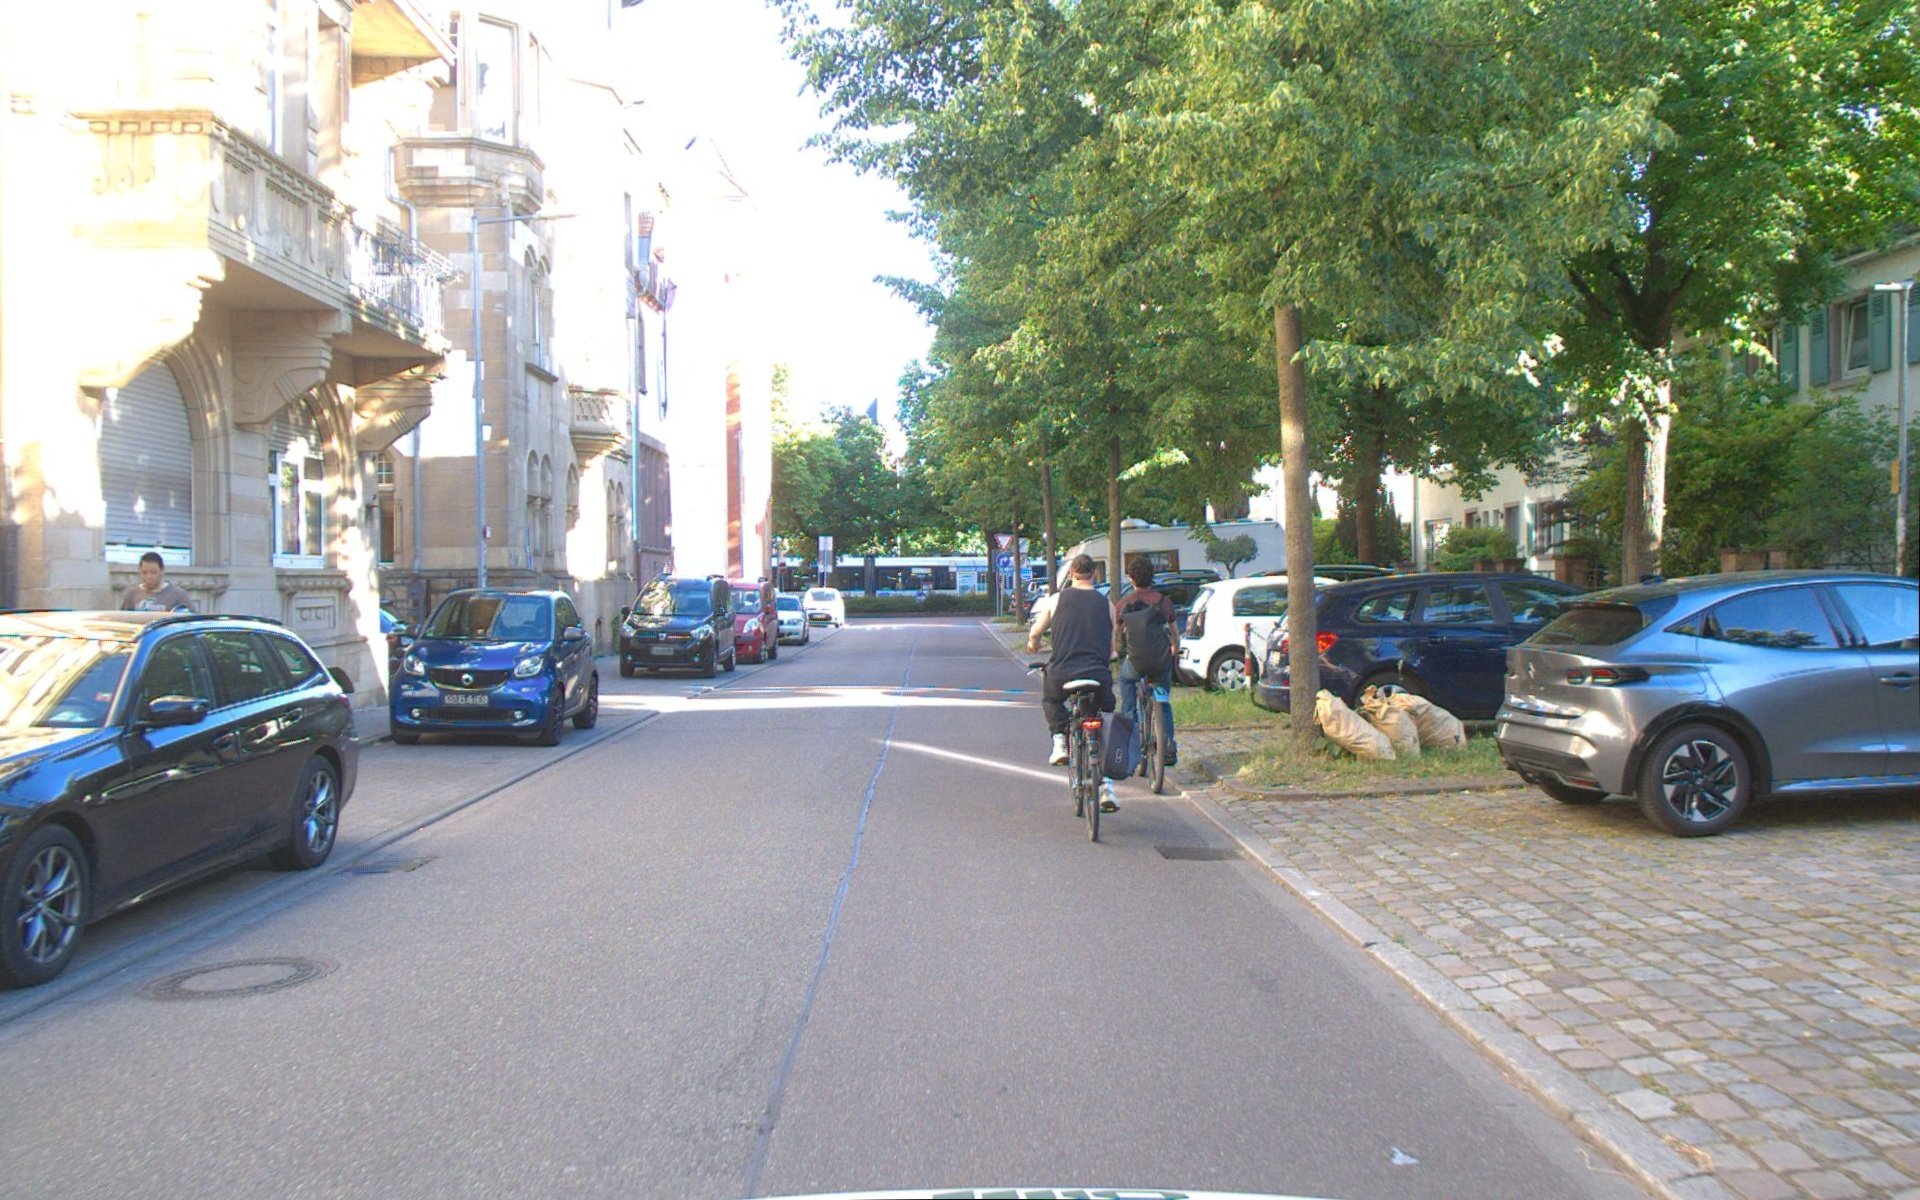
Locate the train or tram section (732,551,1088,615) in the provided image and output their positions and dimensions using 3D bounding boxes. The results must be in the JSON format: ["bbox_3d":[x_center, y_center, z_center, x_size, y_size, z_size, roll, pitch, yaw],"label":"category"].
[{"bbox_3d":[-2.981,-1.002,108.450,23.485,3.773,4.255,1,0,-24],"label":"train or tram section"}]

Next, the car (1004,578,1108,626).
[{"bbox_3d":[3.766,0.081,65.070,3.907,1.835,1.833,0,0,-3],"label":"car"}]

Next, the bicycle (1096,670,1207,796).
[{"bbox_3d":[1.485,1.022,13.098,0.620,0.813,1.832,-1,1,-1],"label":"bicycle"}]

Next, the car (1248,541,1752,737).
[{"bbox_3d":[4.930,0.365,15.506,4.136,1.628,1.691,-1,-2,1],"label":"car"}]

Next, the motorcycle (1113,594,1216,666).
[{"bbox_3d":[3.429,0.507,27.796,1.574,1.160,0.671,-1,0,33],"label":"motorcycle"}]

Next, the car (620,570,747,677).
[{"bbox_3d":[-5.036,0.373,30.622,1.607,1.814,4.354,1,1,0],"label":"car"}]

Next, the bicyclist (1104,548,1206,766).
[{"bbox_3d":[1.529,0.431,13.099,0.675,1.655,0.998,0,0,-1],"label":"bicyclist"}]

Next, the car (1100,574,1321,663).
[{"bbox_3d":[4.929,0.381,32.845,4.056,1.628,1.701,-1,-2,-3],"label":"car"}]

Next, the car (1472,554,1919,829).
[{"bbox_3d":[5.368,0.477,10.077,3.953,1.479,1.689,-1,0,-5],"label":"car"}]

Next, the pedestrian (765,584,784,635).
[{"bbox_3d":[-6.511,0.331,57.993,0.596,1.793,0.432,0,-1,-1],"label":"pedestrian"}]

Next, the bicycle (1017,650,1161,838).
[{"bbox_3d":[0.805,0.891,10.865,0.722,1.072,1.955,1,-1,-2],"label":"bicycle"}]

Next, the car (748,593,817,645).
[{"bbox_3d":[-5.112,0.525,47.986,1.551,1.367,4.131,1,1,0],"label":"car"}]

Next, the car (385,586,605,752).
[{"bbox_3d":[-4.774,0.652,17.324,1.564,1.515,2.735,3,1,-2],"label":"car"}]

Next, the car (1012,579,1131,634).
[{"bbox_3d":[3.816,0.239,57.184,3.907,1.835,1.833,0,0,-3],"label":"car"}]

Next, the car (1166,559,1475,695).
[{"bbox_3d":[4.672,0.366,21.815,3.695,1.628,1.691,-1,-2,1],"label":"car"}]

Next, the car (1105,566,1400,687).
[{"bbox_3d":[4.244,0.403,24.449,4.053,1.628,1.702,-1,-2,1],"label":"car"}]

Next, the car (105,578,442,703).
[{"bbox_3d":[-9.762,0.552,23.754,4.114,1.697,1.718,0,0,-2],"label":"car"}]

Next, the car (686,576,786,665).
[{"bbox_3d":[-5.007,0.402,37.468,1.654,1.857,4.272,1,1,0],"label":"car"}]

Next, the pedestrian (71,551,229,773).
[{"bbox_3d":[-6.671,0.500,13.662,0.919,1.773,0.735,0,-1,-1],"label":"pedestrian"}]

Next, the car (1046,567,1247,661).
[{"bbox_3d":[3.958,0.295,35.506,4.002,1.678,1.640,-4,0,-3],"label":"car"}]

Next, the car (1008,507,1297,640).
[{"bbox_3d":[4.886,-0.677,42.782,7.006,3.030,2.463,-3,0,-4],"label":"car"}]

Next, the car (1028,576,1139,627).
[{"bbox_3d":[4.528,0.065,60.951,3.907,1.835,1.833,0,0,-3],"label":"car"}]

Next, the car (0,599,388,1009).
[{"bbox_3d":[-4.461,0.776,8.232,1.641,1.455,4.550,1,1,0],"label":"car"}]

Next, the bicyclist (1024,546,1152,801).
[{"bbox_3d":[0.818,0.462,10.750,0.715,1.575,0.884,1,-1,-2],"label":"bicyclist"}]

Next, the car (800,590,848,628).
[{"bbox_3d":[-5.375,0.327,65.886,1.551,1.399,4.131,1,1,0],"label":"car"}]
